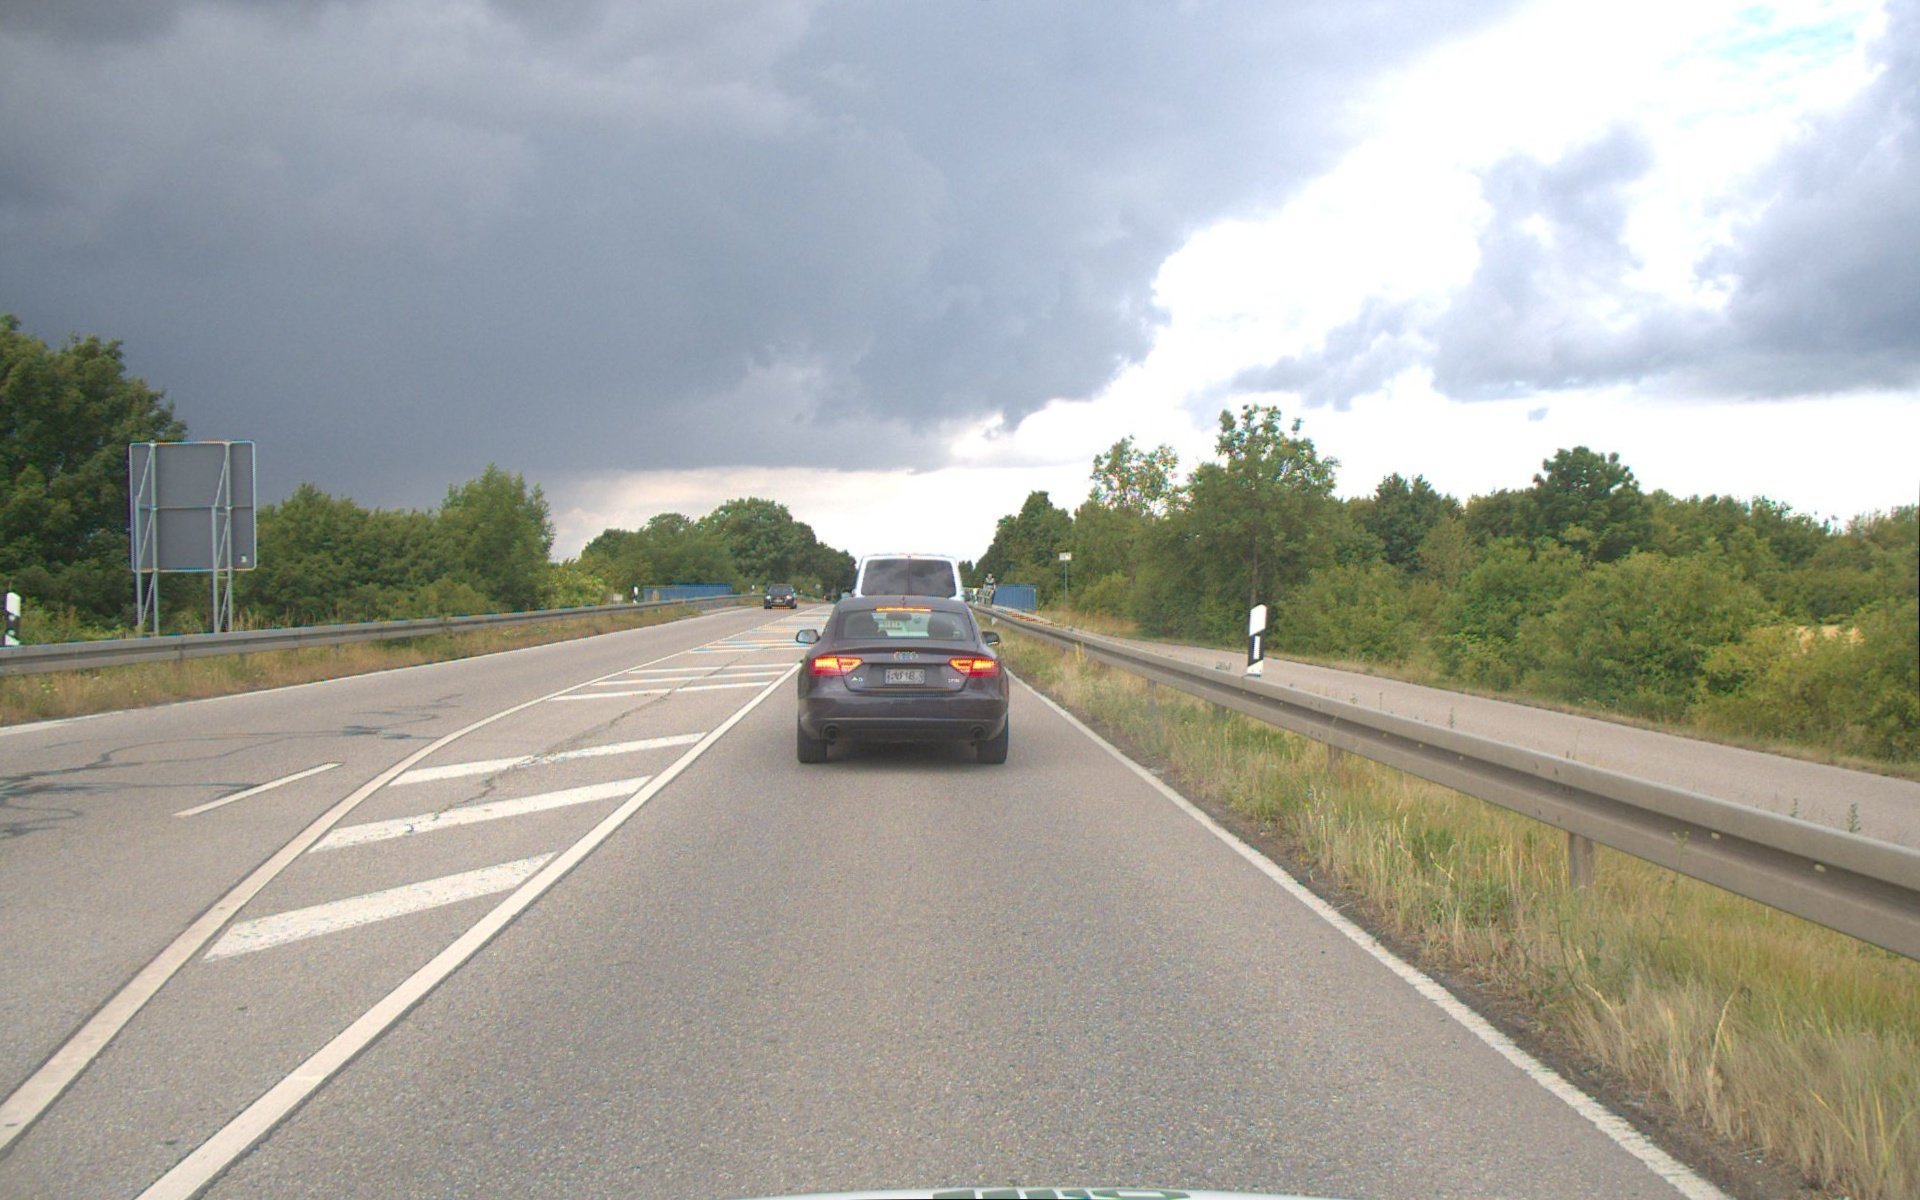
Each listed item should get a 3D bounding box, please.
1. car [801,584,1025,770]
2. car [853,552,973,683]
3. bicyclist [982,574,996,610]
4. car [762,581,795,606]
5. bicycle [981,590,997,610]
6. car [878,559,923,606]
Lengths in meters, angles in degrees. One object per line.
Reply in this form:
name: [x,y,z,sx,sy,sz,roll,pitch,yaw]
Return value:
car: [-0.447,0.610,15.016,1.750,1.448,3.998,1,0,-2]
car: [-0.774,0.257,26.473,1.750,1.923,3.998,1,0,-2]
bicyclist: [1.393,-0.386,79.475,0.634,1.674,0.866,-1,0,-3]
car: [-10.506,-0.365,95.739,1.826,1.400,3.996,0,1,-5]
bicycle: [1.405,0.016,79.409,0.652,0.936,1.829,-1,0,-2]
car: [-3.347,-1.001,93.385,2.398,2.548,5.039,1,1,-2]
